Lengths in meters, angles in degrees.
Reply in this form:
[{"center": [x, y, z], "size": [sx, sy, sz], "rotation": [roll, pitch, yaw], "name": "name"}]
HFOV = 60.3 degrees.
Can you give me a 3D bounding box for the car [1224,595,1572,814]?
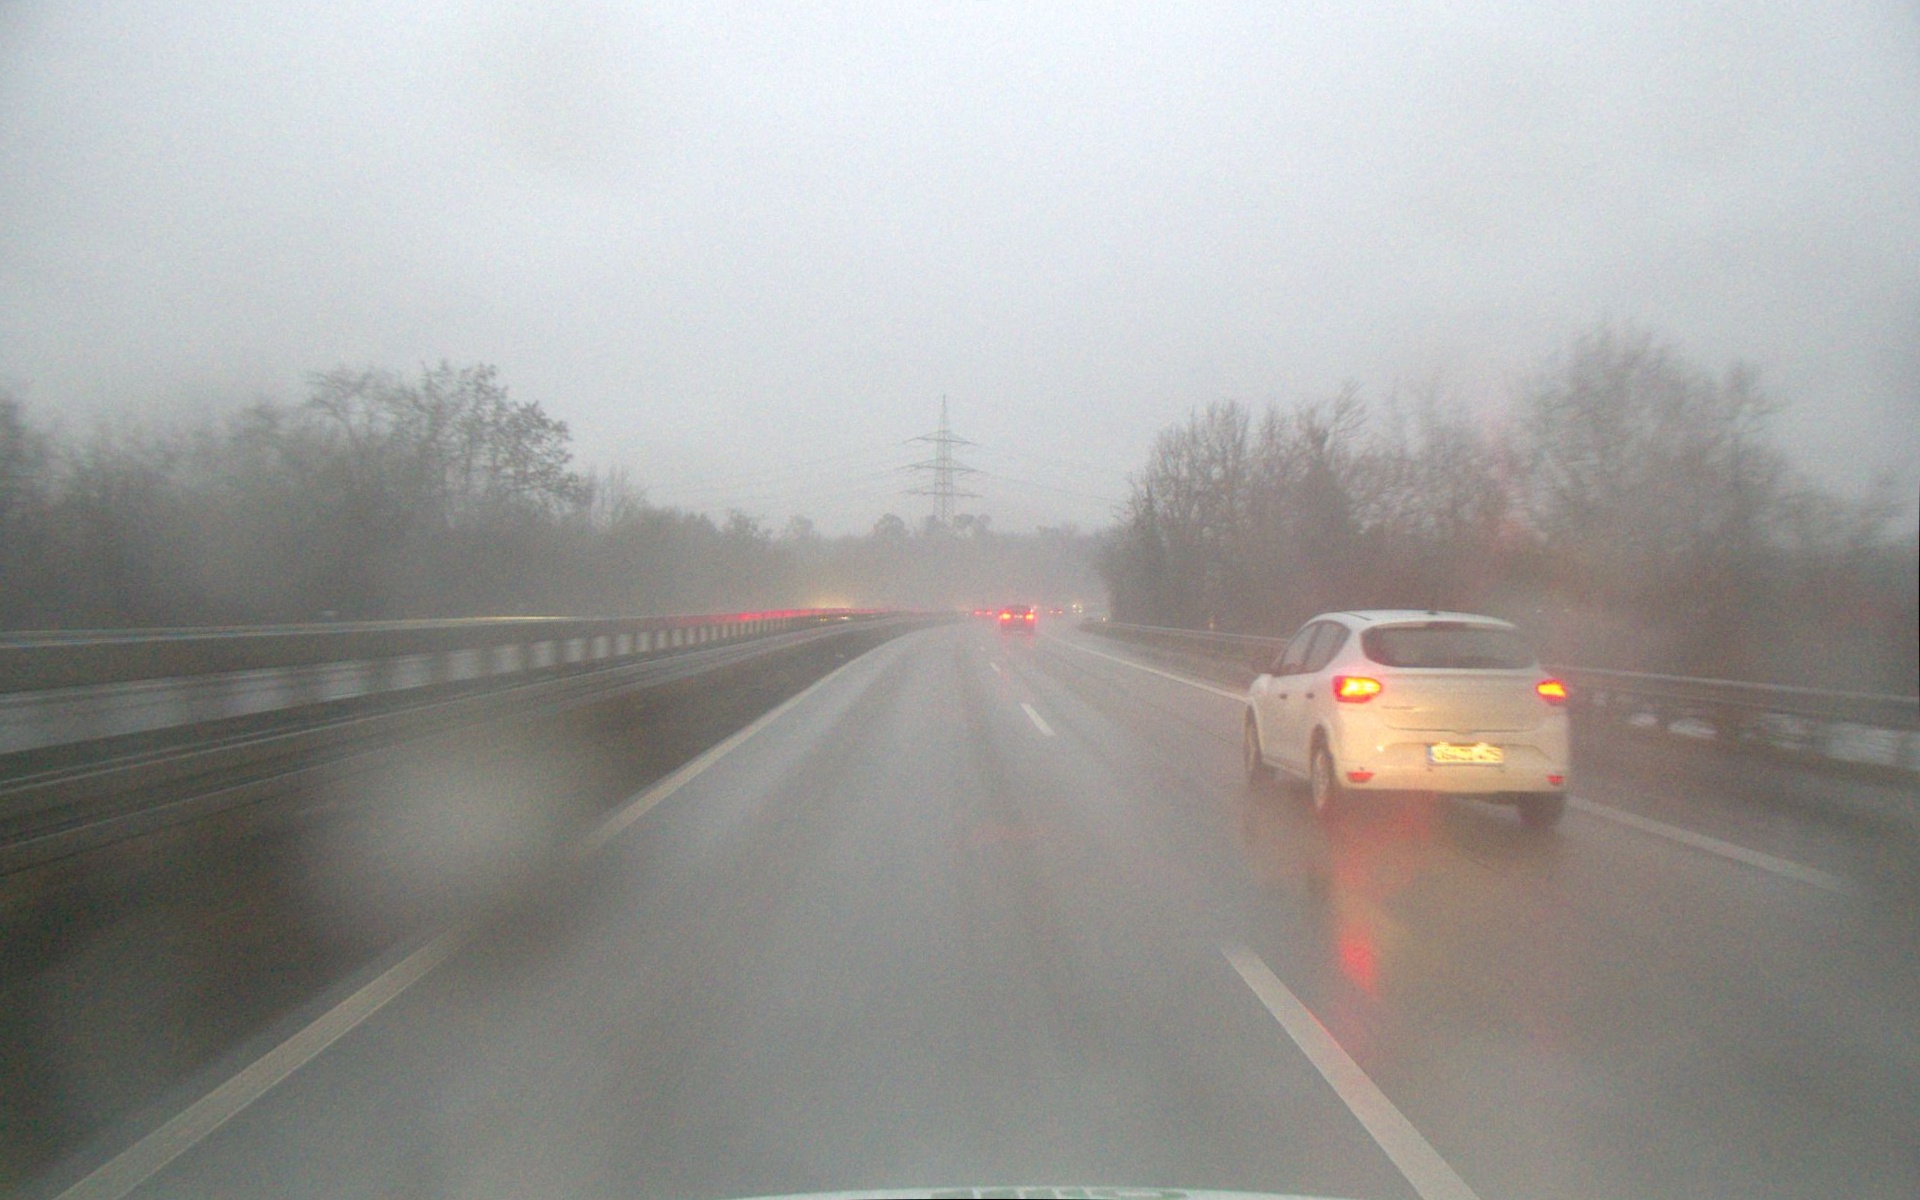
[{"center": [3.404, 0.727, 13.647], "size": [1.761, 1.529, 3.999], "rotation": [0, 0, -1], "name": "car"}]
